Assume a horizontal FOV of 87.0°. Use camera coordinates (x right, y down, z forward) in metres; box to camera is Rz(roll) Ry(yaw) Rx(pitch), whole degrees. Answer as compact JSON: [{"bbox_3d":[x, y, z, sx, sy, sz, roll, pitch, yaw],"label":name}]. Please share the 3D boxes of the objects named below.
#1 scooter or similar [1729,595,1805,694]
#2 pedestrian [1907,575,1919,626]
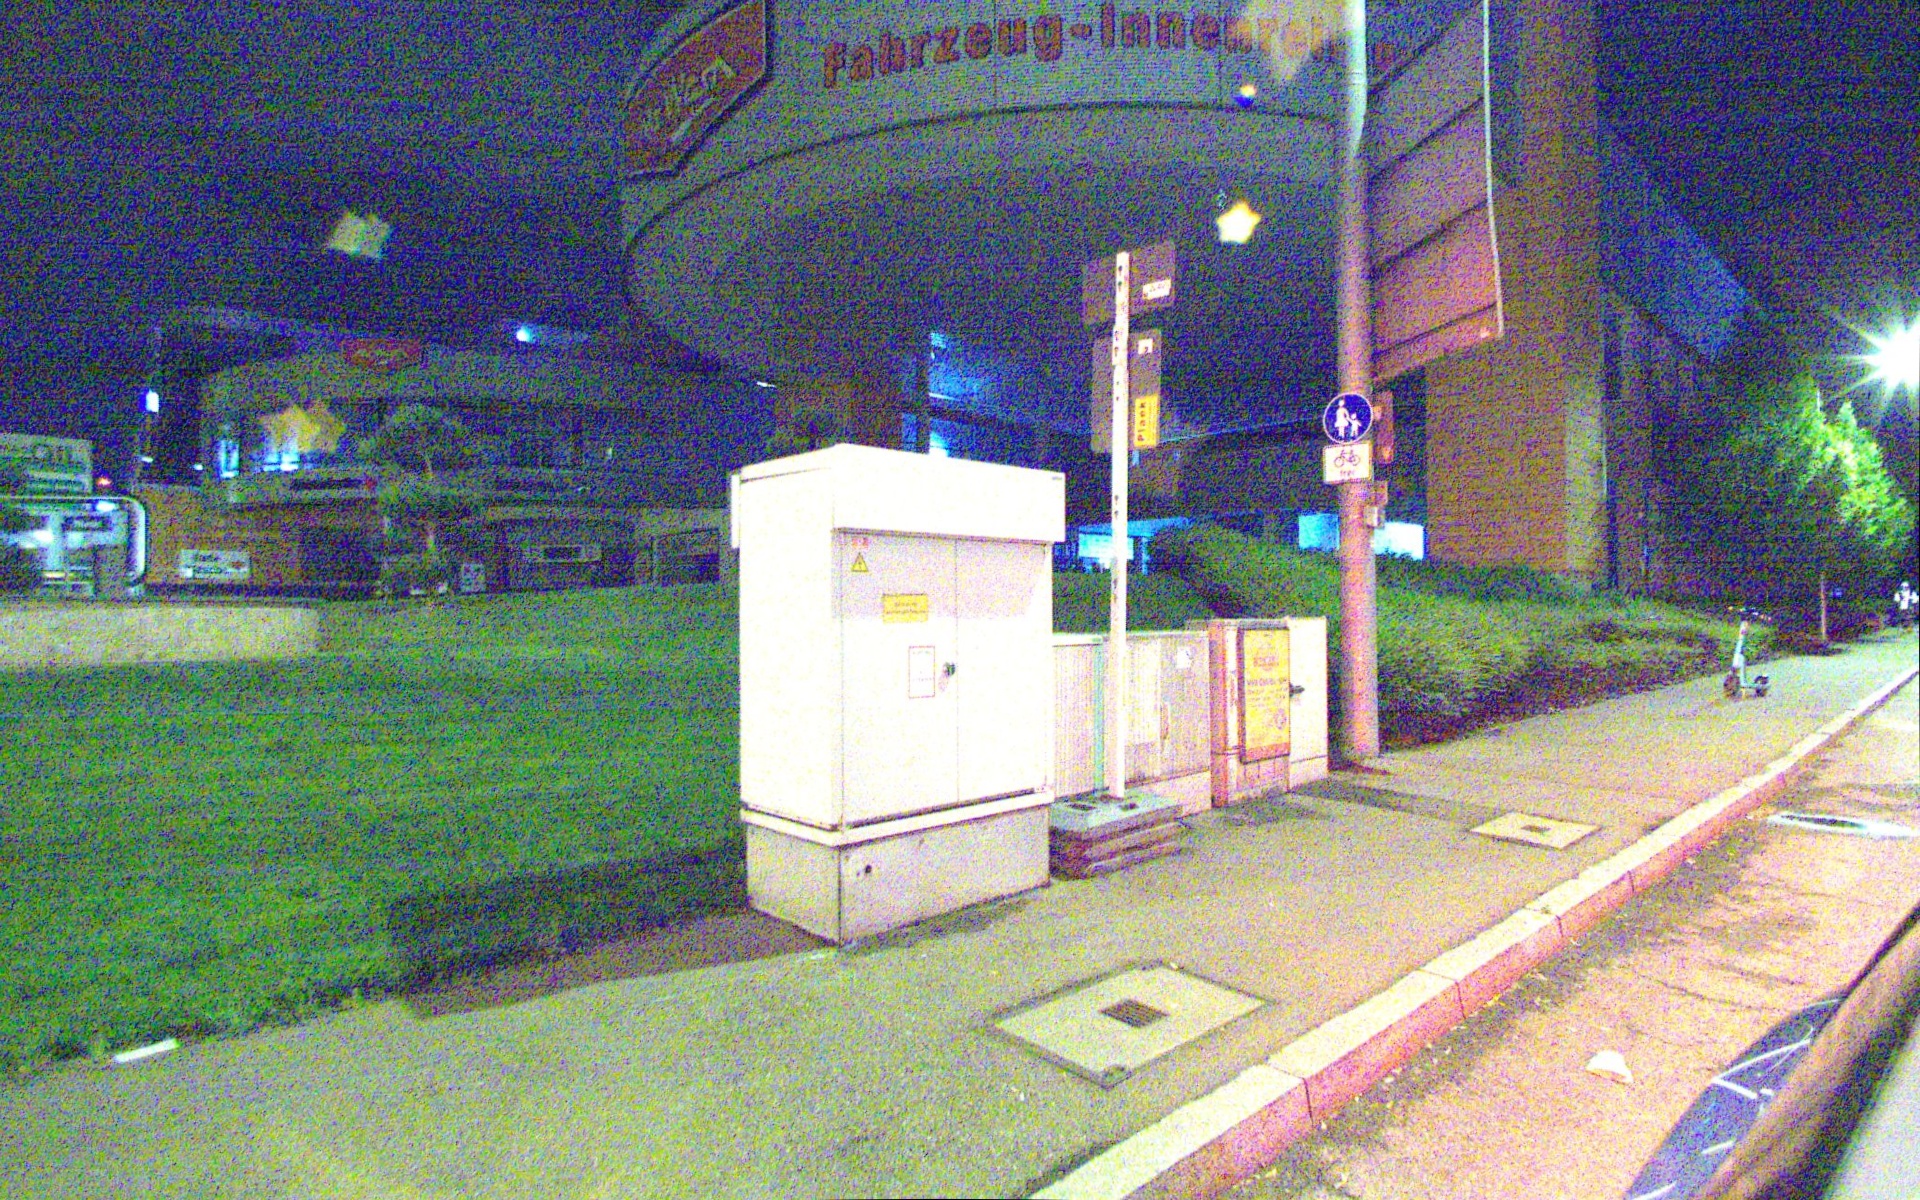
[{"bbox_3d":[11.247,0.587,14.095,1.367,1.295,0.569,0,1,-41],"label":"scooter or similar"},{"bbox_3d":[35.497,0.014,37.262,0.597,1.842,0.824,-1,0,-40],"label":"pedestrian"}]
